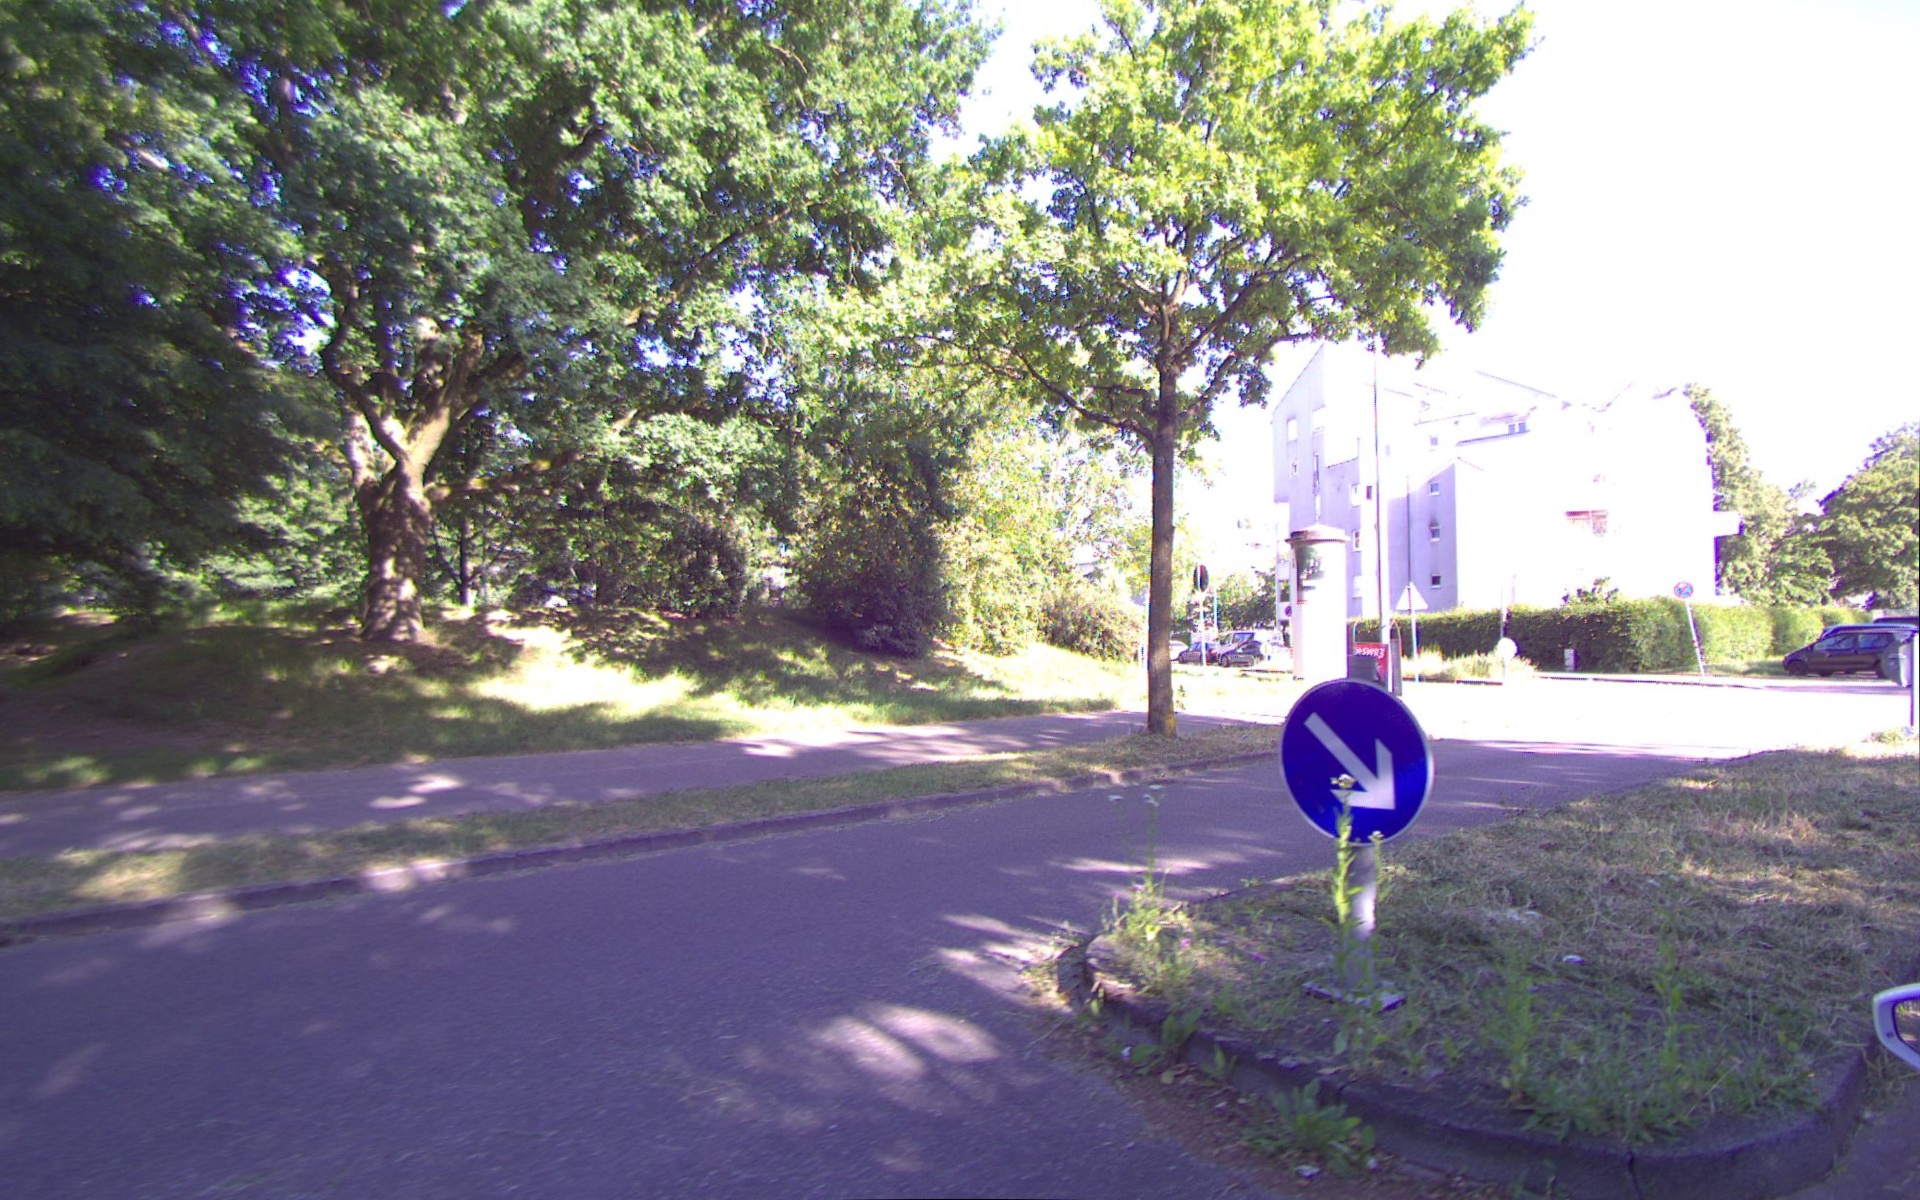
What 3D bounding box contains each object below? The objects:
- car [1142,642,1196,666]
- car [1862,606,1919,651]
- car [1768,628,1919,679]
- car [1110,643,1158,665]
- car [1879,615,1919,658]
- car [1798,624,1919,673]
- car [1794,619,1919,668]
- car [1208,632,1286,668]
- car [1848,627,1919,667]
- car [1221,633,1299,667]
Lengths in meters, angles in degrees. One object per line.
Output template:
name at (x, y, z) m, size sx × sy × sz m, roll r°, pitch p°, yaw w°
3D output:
car at (13.722, 3.567, 66.220) m, size 1.882 × 1.508 × 4.366 m, roll 0°, pitch -3°, yaw -12°
car at (47.344, 1.317, 47.806) m, size 2.390 × 2.175 × 6.208 m, roll 1°, pitch -3°, yaw -39°
car at (27.971, 1.661, 31.661) m, size 1.678 × 1.485 × 3.518 m, roll -1°, pitch -2°, yaw -20°
car at (12.424, 3.871, 71.888) m, size 1.882 × 1.508 × 4.366 m, roll 0°, pitch -3°, yaw -12°
car at (41.157, 1.493, 41.381) m, size 1.827 × 1.794 × 4.499 m, roll 0°, pitch -3°, yaw -32°
car at (30.072, 1.591, 32.891) m, size 1.628 × 1.516 × 3.671 m, roll -1°, pitch -3°, yaw -24°
car at (33.037, 1.549, 35.646) m, size 1.764 × 1.676 × 4.967 m, roll 0°, pitch -3°, yaw -31°
car at (16.049, 2.824, 56.456) m, size 1.966 × 1.937 × 4.941 m, roll 0°, pitch -3°, yaw -14°
car at (36.341, 1.736, 37.824) m, size 1.606 × 1.473 × 4.111 m, roll 1°, pitch -4°, yaw -39°
car at (15.134, 2.534, 50.909) m, size 1.853 × 1.664 × 4.063 m, roll 0°, pitch -3°, yaw -17°
